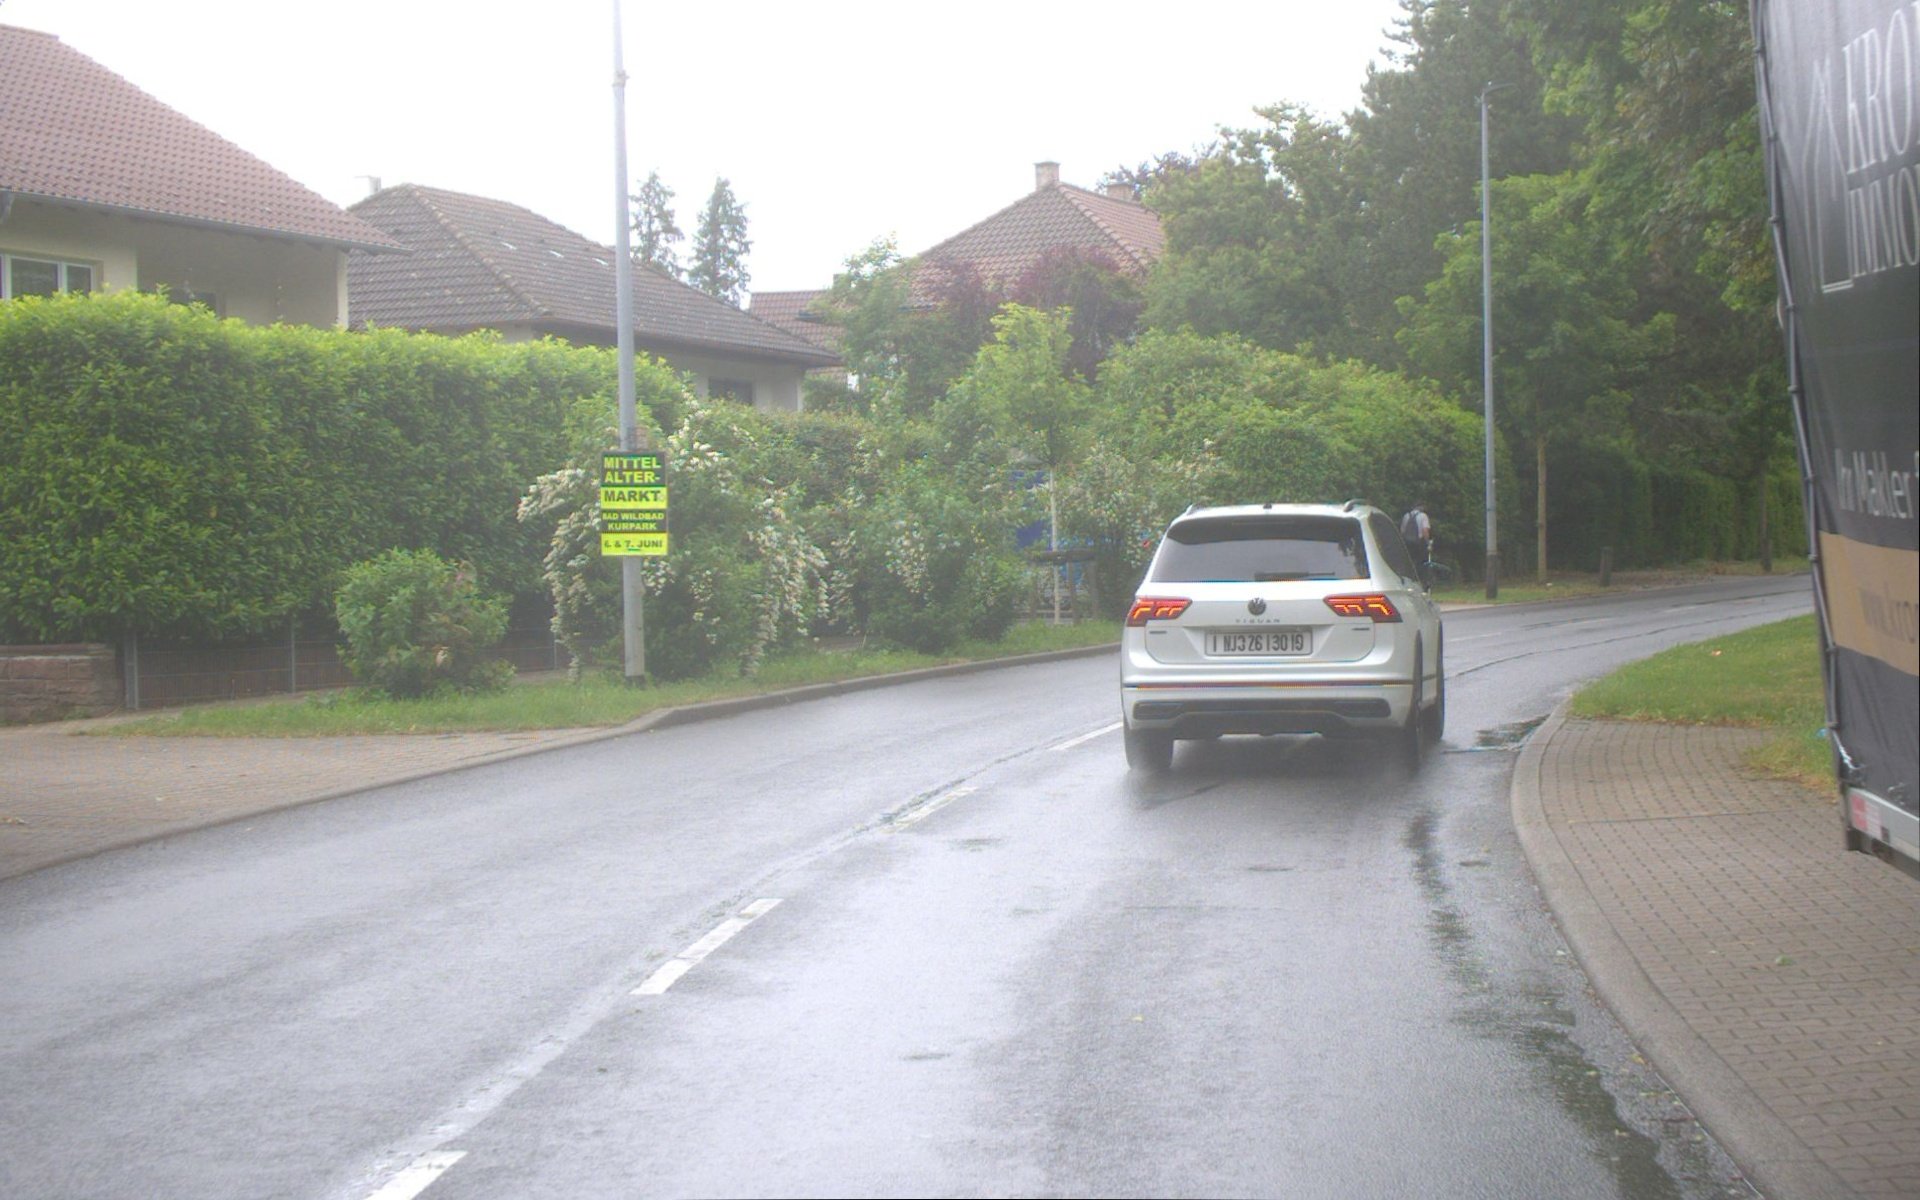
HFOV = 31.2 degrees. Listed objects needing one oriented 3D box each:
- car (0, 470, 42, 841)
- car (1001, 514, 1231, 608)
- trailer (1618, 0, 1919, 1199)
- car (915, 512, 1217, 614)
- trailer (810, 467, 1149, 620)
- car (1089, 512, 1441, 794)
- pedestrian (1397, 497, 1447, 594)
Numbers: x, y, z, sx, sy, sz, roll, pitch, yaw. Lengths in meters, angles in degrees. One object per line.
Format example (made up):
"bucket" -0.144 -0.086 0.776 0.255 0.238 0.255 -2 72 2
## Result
"car" -5.816 0.289 15.055 1.799 1.789 4.370 0 1 10
"car" 2.584 -0.647 56.807 3.407 1.514 1.729 0 1 23
"trailer" 2.811 -0.192 6.742 1.994 2.798 5.608 -6 1 4
"car" 1.658 -0.586 53.689 4.243 1.534 2.050 0 1 23
"trailer" 0.280 -0.820 50.599 4.626 2.164 1.813 0 1 23
"car" 2.079 0.275 22.332 1.975 1.647 4.175 0 1 9
"pedestrian" 7.968 -0.949 59.297 0.777 1.656 0.843 0 2 12
